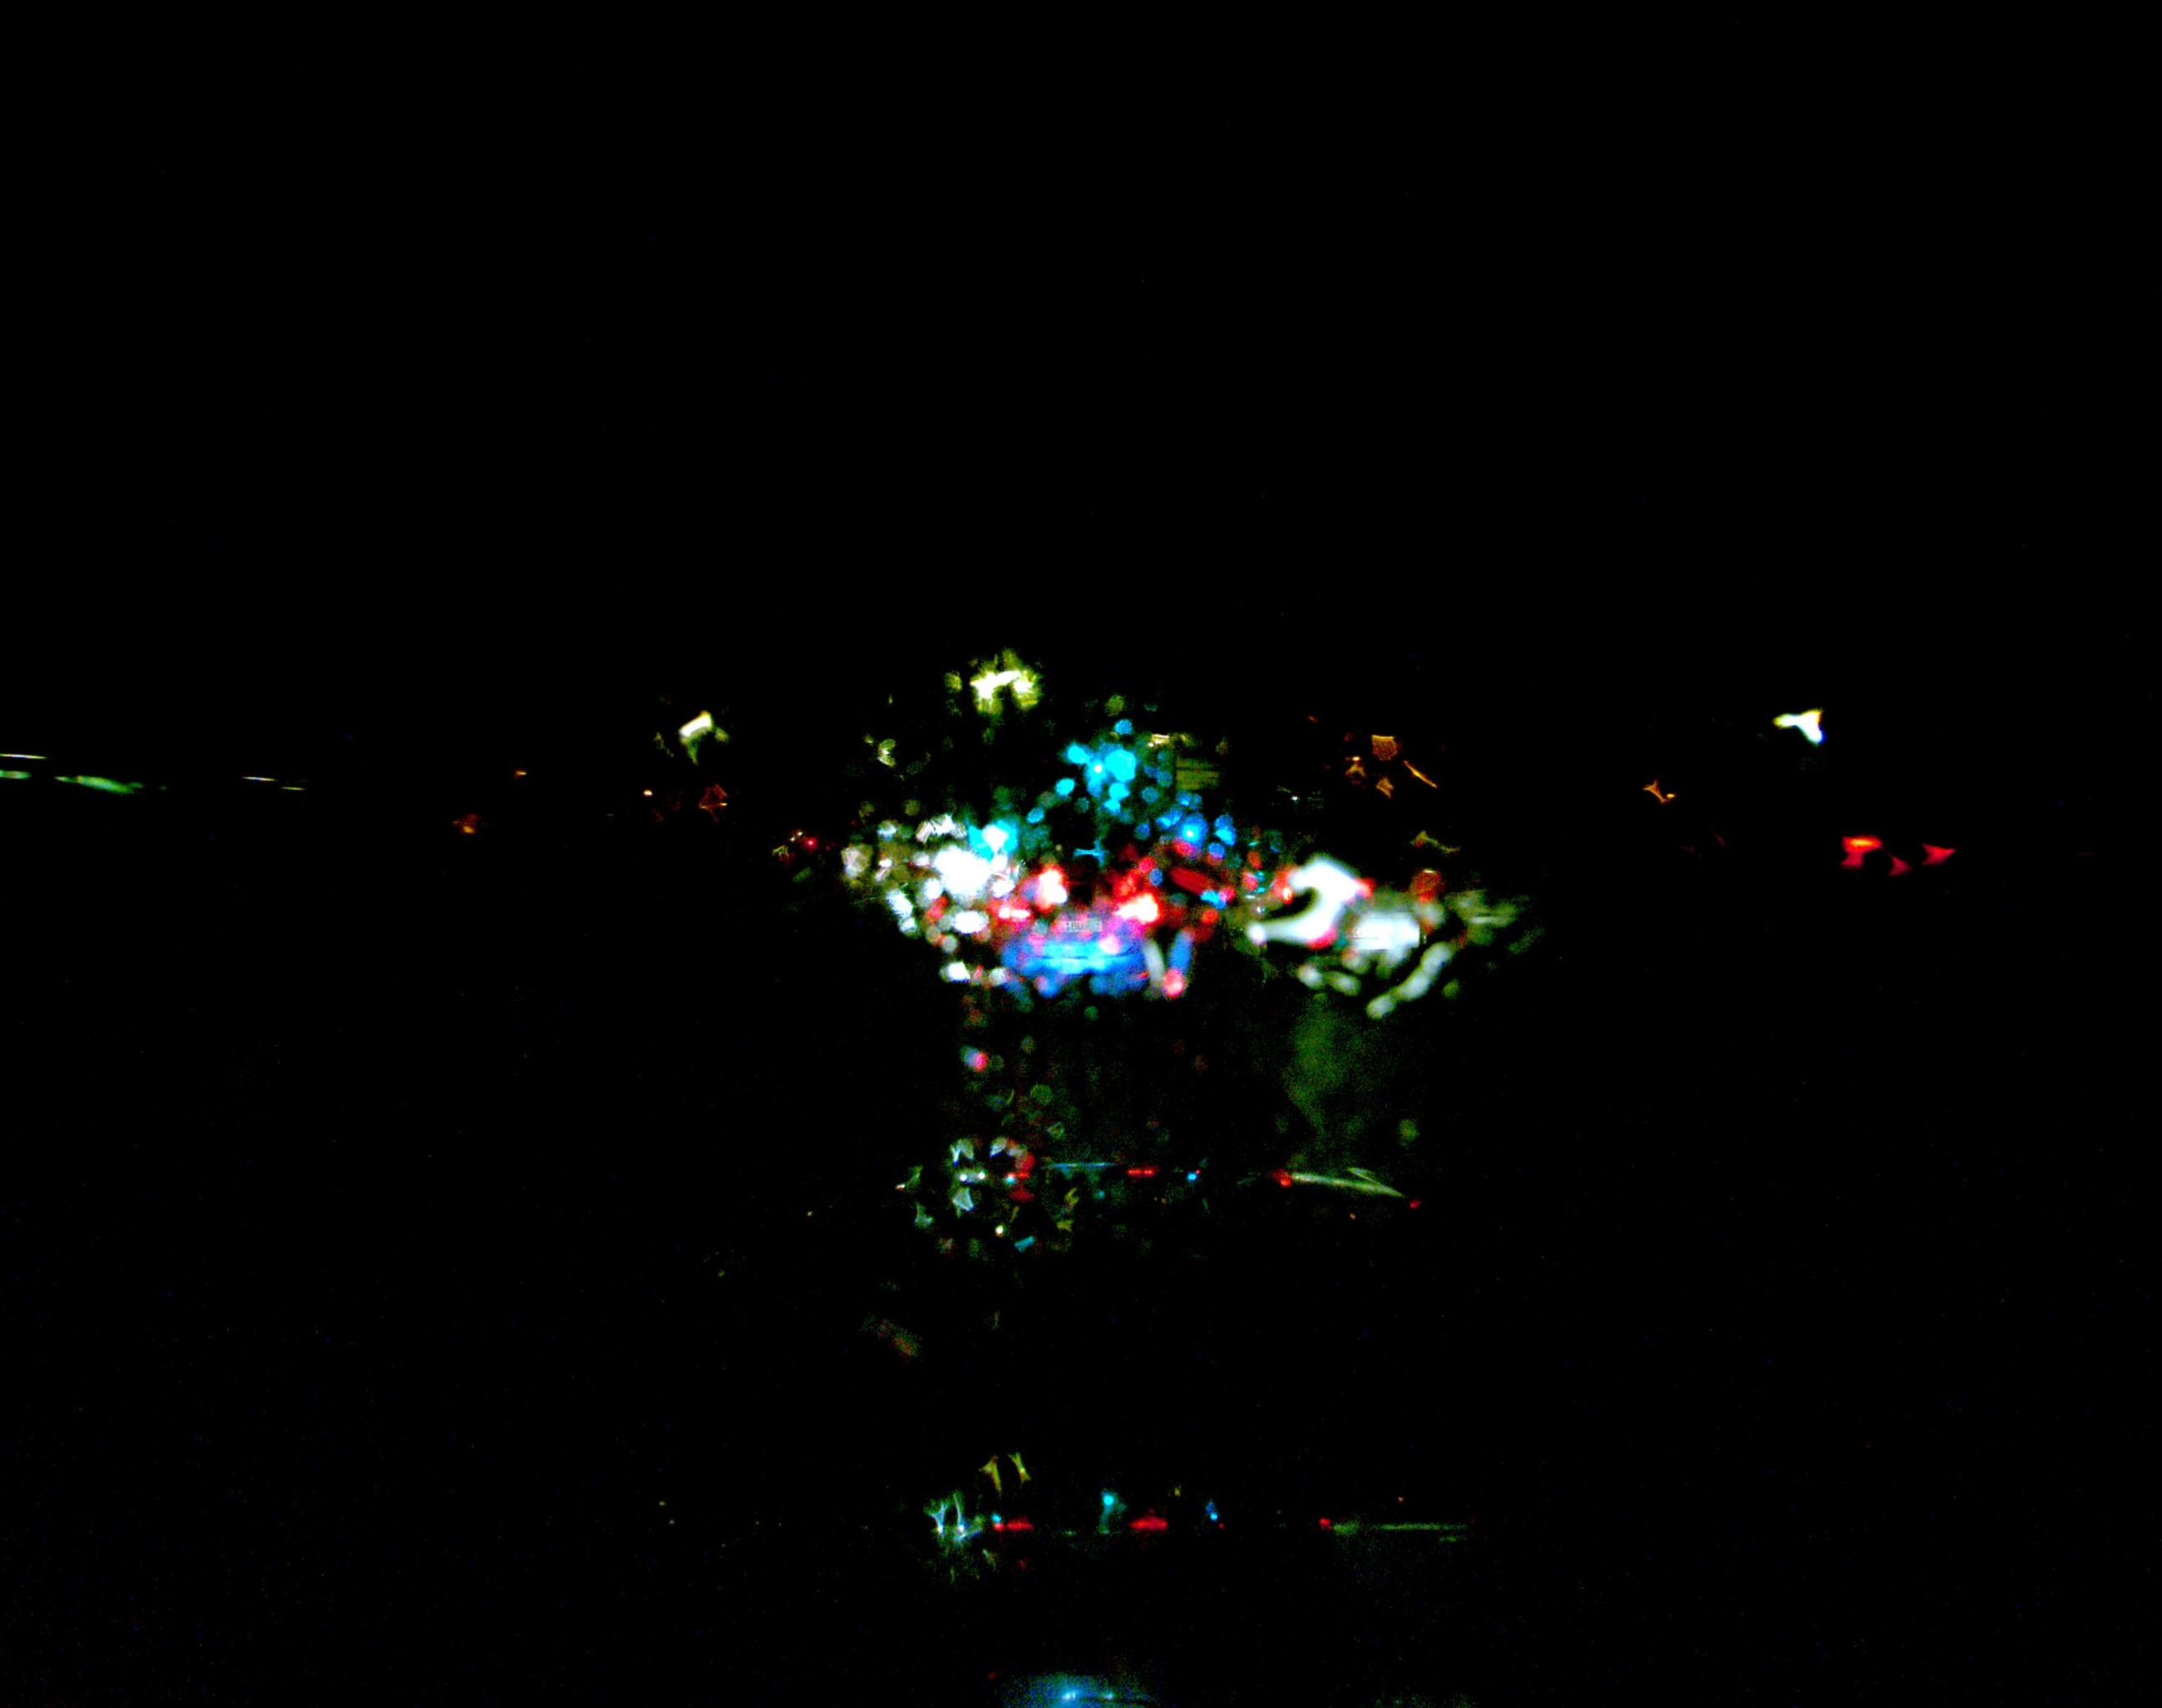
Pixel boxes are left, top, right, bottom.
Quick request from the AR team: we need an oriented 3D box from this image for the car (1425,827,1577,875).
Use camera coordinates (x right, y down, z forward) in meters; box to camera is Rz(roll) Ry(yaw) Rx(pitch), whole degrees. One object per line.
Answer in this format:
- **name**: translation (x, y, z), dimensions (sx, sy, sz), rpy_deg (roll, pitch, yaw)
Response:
- **car**: translation (13.670, -0.076, 26.605), dimensions (4.286, 1.460, 1.863), rpy_deg (0, -1, 30)

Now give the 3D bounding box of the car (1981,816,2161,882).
- **car**: translation (21.087, -0.093, 16.544), dimensions (3.467, 1.291, 1.480), rpy_deg (0, -1, 20)

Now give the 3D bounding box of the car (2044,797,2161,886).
- **car**: translation (19.839, -0.215, 13.977), dimensions (3.901, 1.487, 1.773), rpy_deg (0, -1, 20)

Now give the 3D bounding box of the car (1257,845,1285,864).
- **car**: translation (18.616, 0.056, 79.961), dimensions (1.857, 1.646, 3.965), rpy_deg (-3, 0, 2)

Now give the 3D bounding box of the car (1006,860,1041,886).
- **car**: translation (-3.970, 1.245, 55.348), dimensions (1.994, 1.732, 3.986), rpy_deg (0, 0, -10)

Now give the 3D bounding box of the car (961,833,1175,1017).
- **car**: translation (-0.209, 0.677, 9.878), dimensions (2.010, 1.717, 4.447), rpy_deg (0, 0, -3)

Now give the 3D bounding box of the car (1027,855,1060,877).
- **car**: translation (-2.996, 0.911, 63.808), dimensions (1.995, 1.670, 3.983), rpy_deg (0, 0, -12)

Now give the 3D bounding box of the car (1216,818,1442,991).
- **car**: translation (3.030, 0.559, 10.961), dimensions (1.845, 1.865, 4.342), rpy_deg (0, 0, 2)

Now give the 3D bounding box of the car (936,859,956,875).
- **car**: translation (-15.903, 1.510, 95.989), dimensions (1.997, 1.824, 3.980), rpy_deg (0, 0, -15)

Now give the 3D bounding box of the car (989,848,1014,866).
- **car**: translation (-8.208, 0.281, 84.001), dimensions (1.996, 1.820, 3.981), rpy_deg (0, 0, -14)

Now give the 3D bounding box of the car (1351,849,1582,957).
- **car**: translation (6.046, 0.661, 13.395), dimensions (1.779, 1.442, 4.237), rpy_deg (-2, 0, 0)

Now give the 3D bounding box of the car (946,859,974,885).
- **car**: translation (-9.798, 1.417, 65.740), dimensions (2.016, 1.887, 4.433), rpy_deg (0, 1, -12)

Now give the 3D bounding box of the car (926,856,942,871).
- **car**: translation (-20.880, 1.332, 115.586), dimensions (1.995, 2.014, 3.983), rpy_deg (0, 0, -13)

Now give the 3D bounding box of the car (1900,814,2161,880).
- **car**: translation (22.236, -0.136, 19.053), dimensions (3.950, 1.430, 1.855), rpy_deg (0, -1, 26)

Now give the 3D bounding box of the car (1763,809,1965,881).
- **car**: translation (18.220, -0.165, 19.274), dimensions (1.706, 1.483, 4.730), rpy_deg (0, 0, 20)

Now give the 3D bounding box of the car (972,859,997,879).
- **car**: translation (-8.767, 1.339, 73.864), dimensions (1.995, 1.824, 3.984), rpy_deg (0, 0, -11)

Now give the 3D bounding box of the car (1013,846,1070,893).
- **car**: translation (-1.824, 0.668, 36.608), dimensions (1.994, 2.014, 3.984), rpy_deg (0, 0, -11)

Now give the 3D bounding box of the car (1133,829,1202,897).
- **car**: translation (2.762, 0.291, 26.857), dimensions (1.961, 2.047, 4.001), rpy_deg (0, 0, 2)

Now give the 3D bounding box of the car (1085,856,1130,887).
- **car**: translation (1.451, 0.958, 46.508), dimensions (1.992, 1.718, 3.990), rpy_deg (0, 0, -7)
